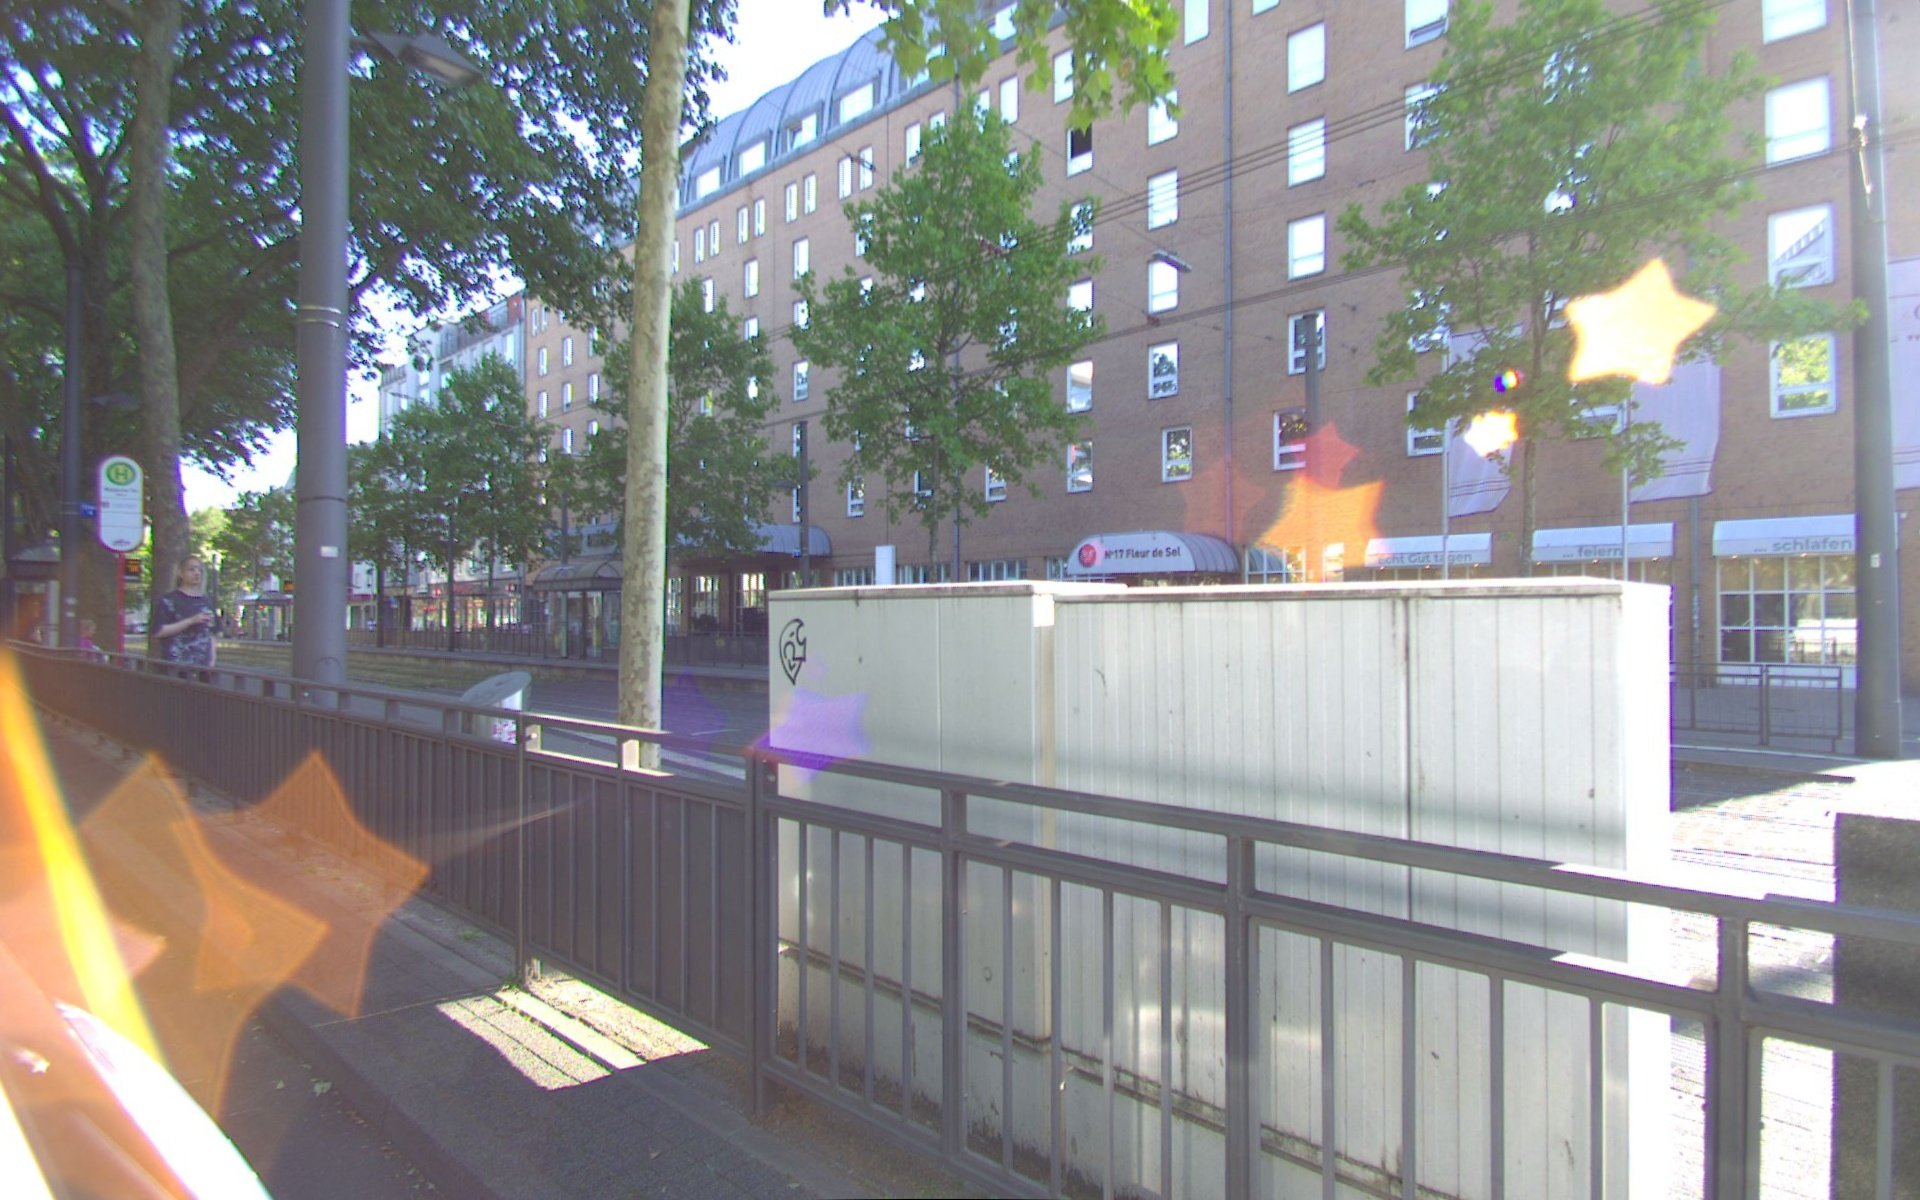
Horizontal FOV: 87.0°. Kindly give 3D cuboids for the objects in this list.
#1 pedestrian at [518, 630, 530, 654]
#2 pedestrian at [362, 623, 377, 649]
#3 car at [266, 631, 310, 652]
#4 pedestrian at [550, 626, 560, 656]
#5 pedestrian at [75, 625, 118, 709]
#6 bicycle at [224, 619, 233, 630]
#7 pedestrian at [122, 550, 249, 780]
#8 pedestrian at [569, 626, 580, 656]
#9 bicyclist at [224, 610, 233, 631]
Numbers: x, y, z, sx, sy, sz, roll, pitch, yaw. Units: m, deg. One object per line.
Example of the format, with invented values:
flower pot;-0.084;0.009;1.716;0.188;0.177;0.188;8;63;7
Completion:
pedestrian;-26.973;2.595;62.667;0.516;1.447;0.512;-2;-2;44
pedestrian;-46.333;2.789;79.375;0.763;2.029;0.796;-2;-2;41
car;-49.555;3.062;74.626;4.308;1.500;1.736;-2;-2;42
pedestrian;-20.559;2.069;51.381;0.431;1.518;0.660;1;-2;-27
pedestrian;-13.952;1.066;16.349;0.493;1.325;0.419;1;-2;-41
bicycle;-69.070;2.347;95.577;0.444;1.012;1.754;2;-2;-44
pedestrian;-6.608;0.537;8.661;0.613;1.897;0.607;1;0;-5
pedestrian;-19.799;2.111;51.933;0.431;1.532;0.660;1;-2;-27
bicyclist;-69.005;1.926;95.408;0.564;1.918;0.814;2;-2;-43
